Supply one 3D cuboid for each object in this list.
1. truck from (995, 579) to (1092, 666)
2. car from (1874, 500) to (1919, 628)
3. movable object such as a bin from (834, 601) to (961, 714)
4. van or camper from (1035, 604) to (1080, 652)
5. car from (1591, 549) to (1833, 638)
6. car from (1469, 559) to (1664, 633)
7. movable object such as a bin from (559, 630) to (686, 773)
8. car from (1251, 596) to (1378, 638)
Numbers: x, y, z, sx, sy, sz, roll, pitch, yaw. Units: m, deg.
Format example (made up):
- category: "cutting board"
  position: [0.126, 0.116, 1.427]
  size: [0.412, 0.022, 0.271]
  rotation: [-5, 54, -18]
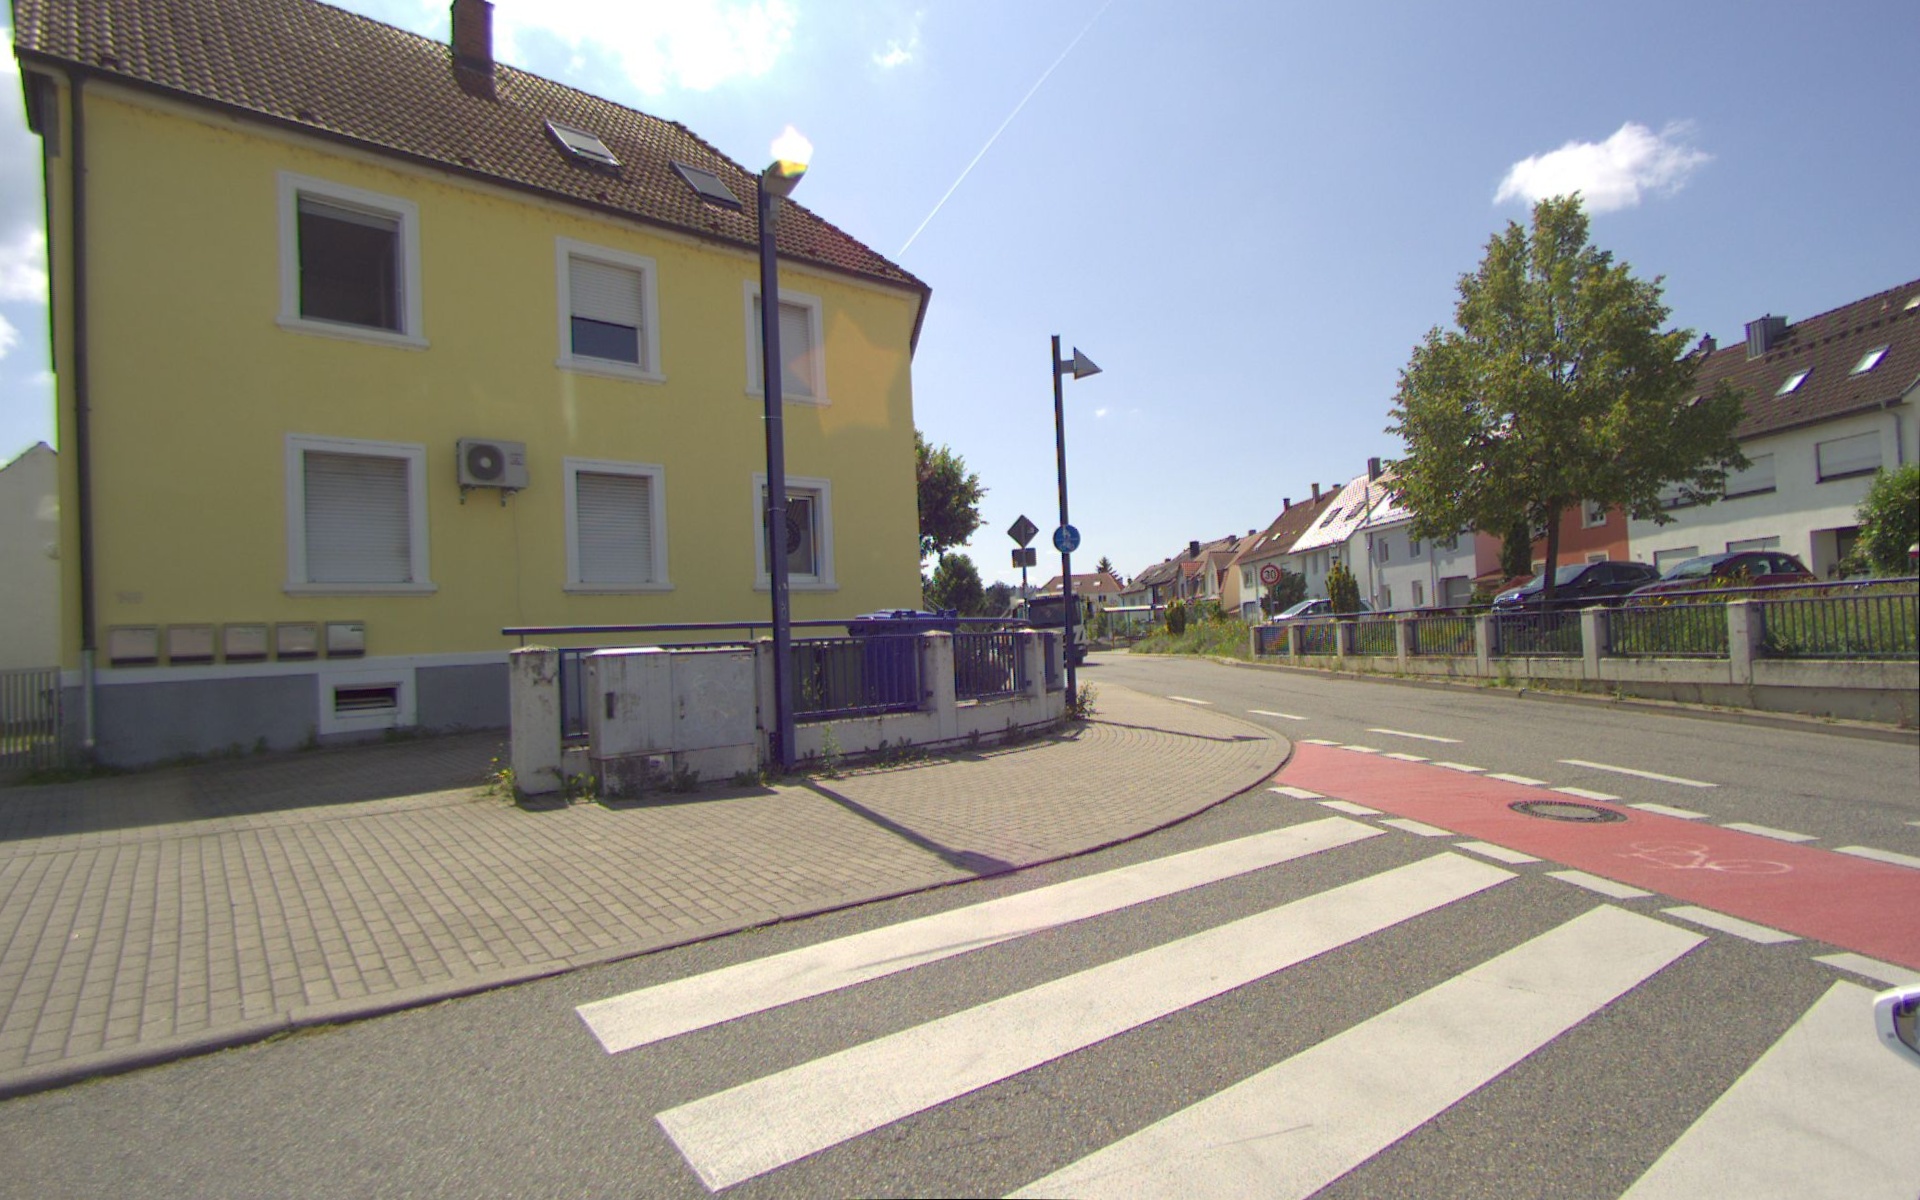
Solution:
- category: "truck"
  position: [3.054, 0.871, 39.065]
  size: [2.568, 2.915, 8.069]
  rotation: [-2, -1, -3]
- category: "car"
  position: [15.709, -0.504, 14.461]
  size: [3.931, 1.821, 1.868]
  rotation: [0, 1, -13]
- category: "movable object such as a bin"
  position: [-0.716, 0.651, 11.733]
  size: [0.829, 1.229, 1.271]
  rotation: [-3, -2, 38]
- category: "van or camper"
  position: [5.694, 1.594, 59.179]
  size: [1.965, 2.665, 5.393]
  rotation: [1, -1, -1]
- category: "car"
  position: [14.375, -0.122, 19.281]
  size: [3.548, 1.608, 1.868]
  rotation: [0, 1, -13]
- category: "car"
  position: [13.893, -0.095, 23.079]
  size: [3.548, 1.608, 1.868]
  rotation: [0, 1, -13]
- category: "movable object such as a bin"
  position: [-3.194, 0.924, 9.492]
  size: [0.894, 1.241, 0.879]
  rotation: [-1, -2, -37]
- category: "car"
  position: [13.387, 0.627, 38.032]
  size: [4.177, 1.508, 1.745]
  rotation: [0, 1, -7]
